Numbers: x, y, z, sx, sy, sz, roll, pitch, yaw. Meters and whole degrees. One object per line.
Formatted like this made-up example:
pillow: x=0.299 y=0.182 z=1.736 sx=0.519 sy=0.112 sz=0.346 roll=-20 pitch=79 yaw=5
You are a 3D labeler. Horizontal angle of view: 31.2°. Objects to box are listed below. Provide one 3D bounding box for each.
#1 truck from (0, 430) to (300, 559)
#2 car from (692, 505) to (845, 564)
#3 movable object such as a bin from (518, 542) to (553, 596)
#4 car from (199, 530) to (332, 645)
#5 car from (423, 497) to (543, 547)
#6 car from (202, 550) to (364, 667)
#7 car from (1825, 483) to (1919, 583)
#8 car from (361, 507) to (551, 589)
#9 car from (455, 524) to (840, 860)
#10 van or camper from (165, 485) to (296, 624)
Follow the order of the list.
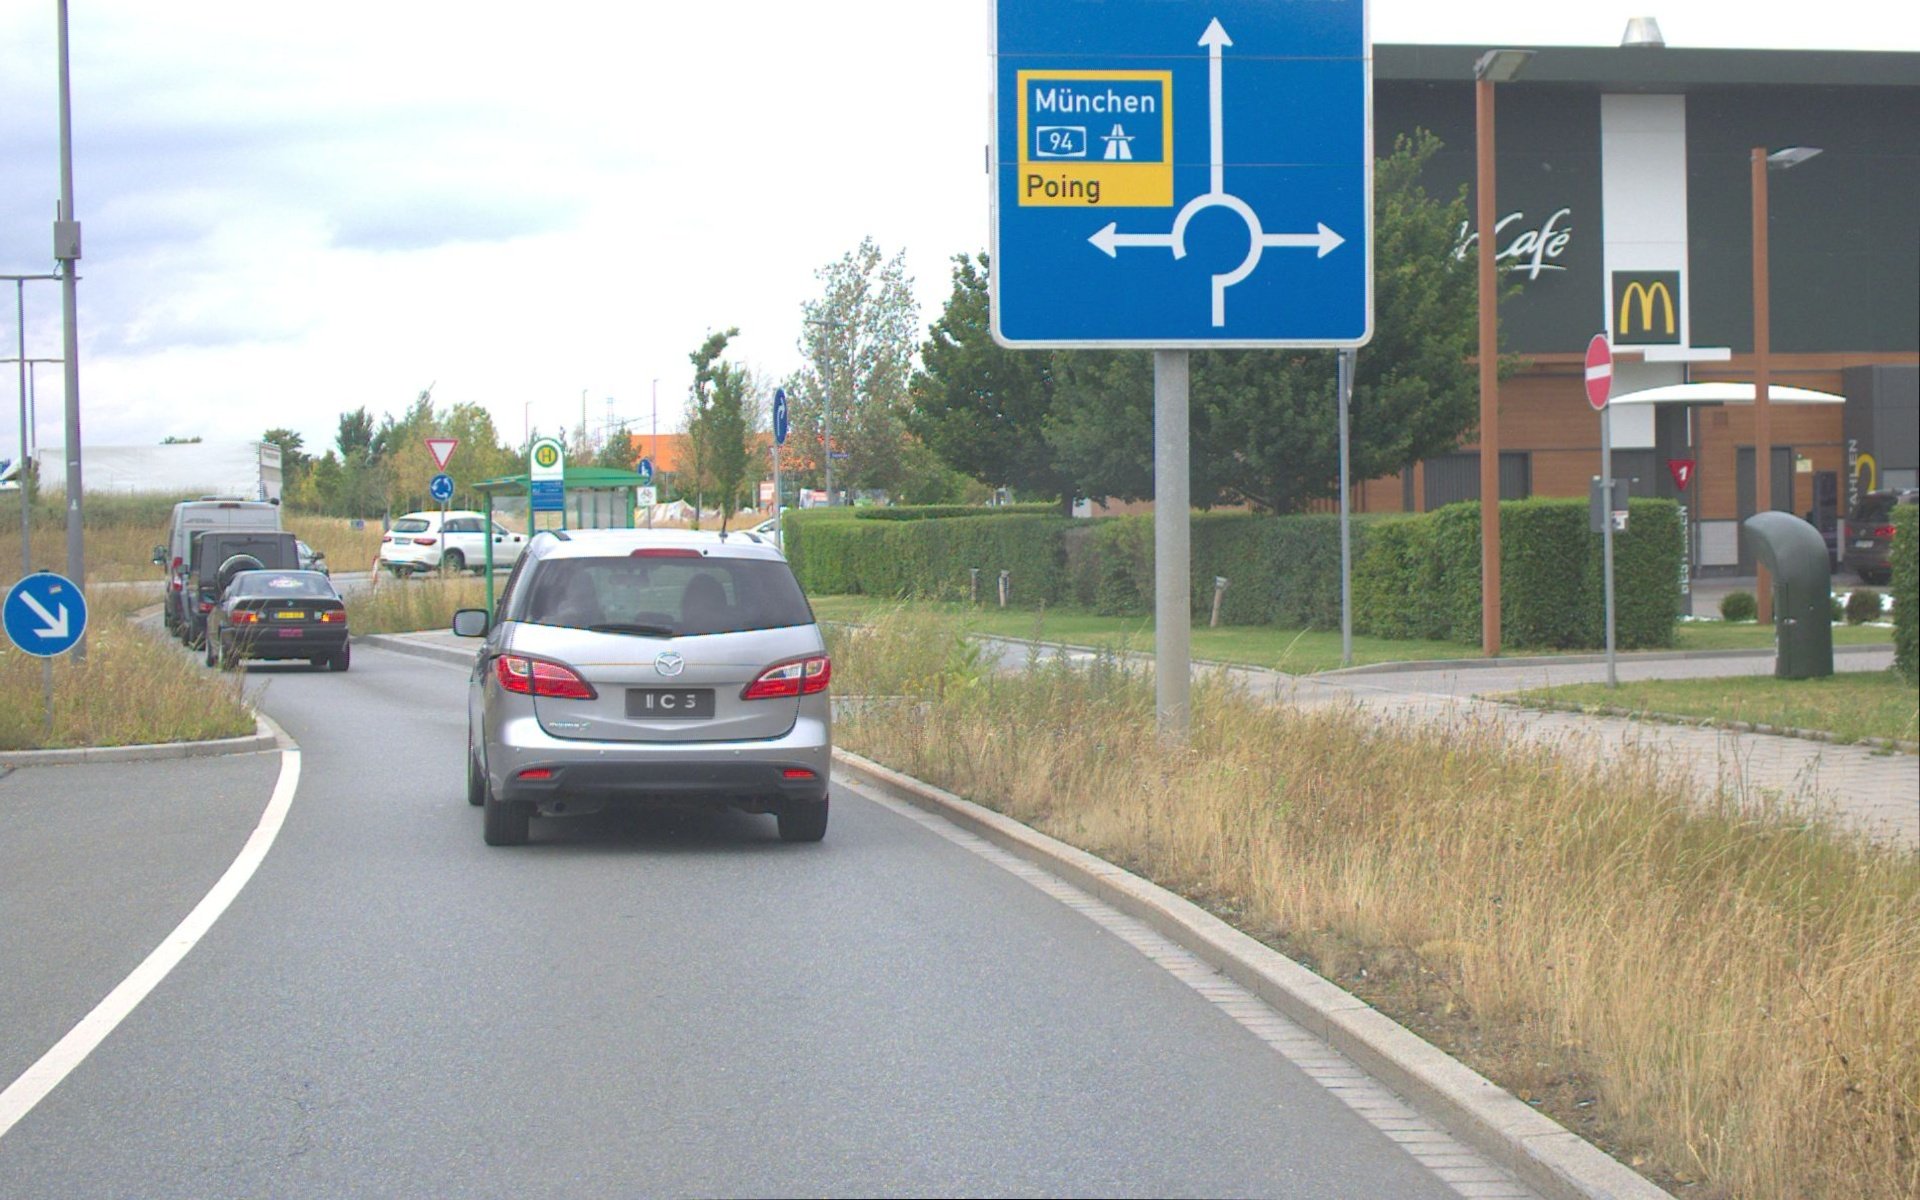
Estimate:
truck: x=-26.076 y=-3.335 z=109.614 sx=9.306 sy=3.893 sz=3.143 roll=-1 pitch=1 yaw=5
car: x=-5.896 y=-2.026 z=105.609 sx=4.601 sy=1.751 sz=2.000 roll=-1 pitch=1 yaw=-5
movable object such as a bin: x=-6.346 y=-0.470 z=51.347 sx=0.456 sy=0.795 sz=0.380 roll=-1 pitch=1 yaw=-16
car: x=-11.714 y=-0.242 z=57.783 sx=2.057 sy=1.819 sz=4.787 roll=-1 pitch=1 yaw=-13
car: x=-15.048 y=-2.449 z=108.249 sx=1.994 sy=1.510 sz=3.999 roll=-2 pitch=1 yaw=-38
car: x=-9.091 y=0.073 z=45.933 sx=1.844 sy=1.413 sz=4.226 roll=-1 pitch=2 yaw=-15
car: x=17.436 y=-1.186 z=60.170 sx=3.986 sy=1.711 sz=2.001 roll=-1 pitch=1 yaw=-15
car: x=-12.678 y=-1.323 z=86.743 sx=1.998 sy=2.007 sz=4.614 roll=0 pitch=1 yaw=38
car: x=-1.767 y=0.399 z=18.389 sx=1.729 sy=1.594 sz=3.808 roll=0 pitch=1 yaw=-10
van or camper: x=-13.751 y=-0.885 z=64.927 sx=2.302 sy=2.497 sz=5.207 roll=0 pitch=1 yaw=-11
